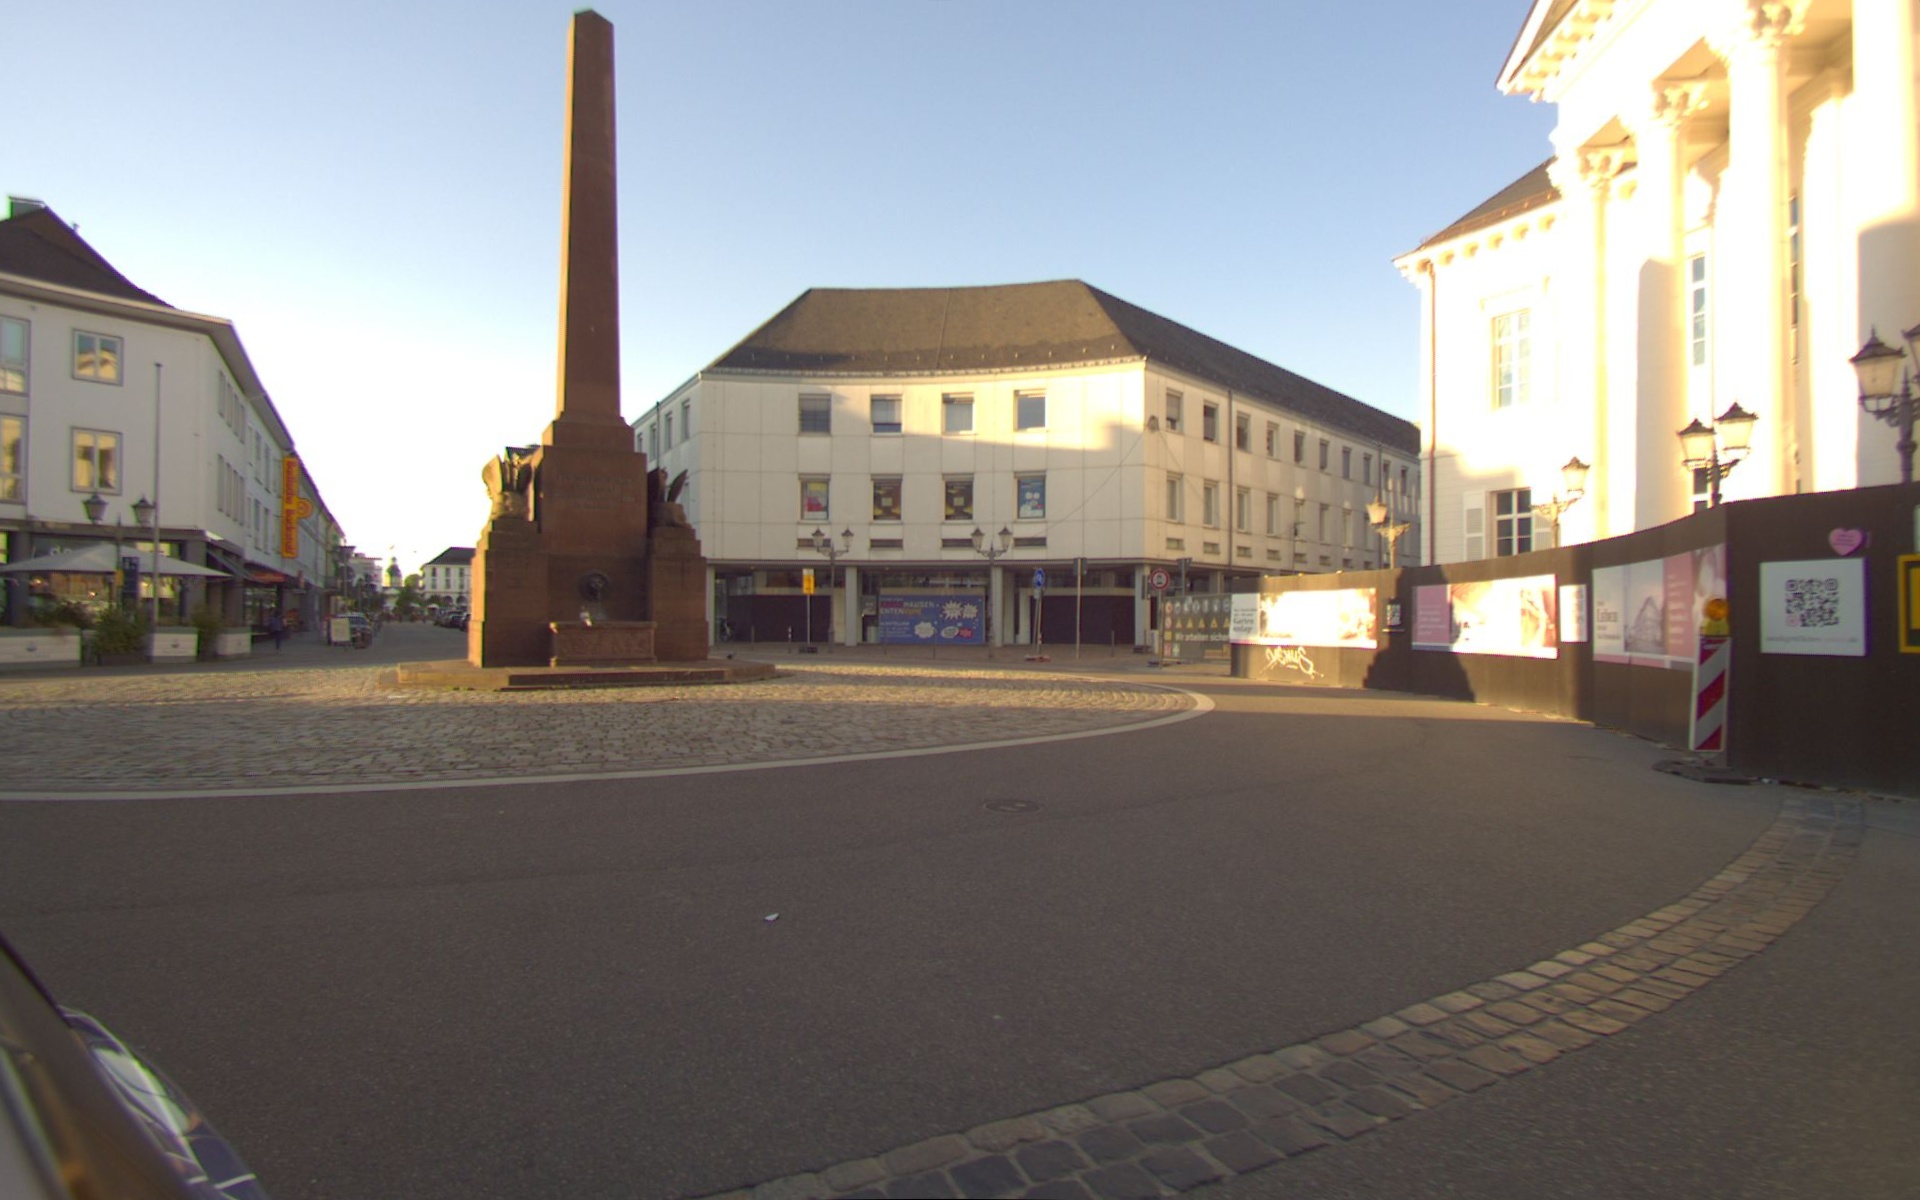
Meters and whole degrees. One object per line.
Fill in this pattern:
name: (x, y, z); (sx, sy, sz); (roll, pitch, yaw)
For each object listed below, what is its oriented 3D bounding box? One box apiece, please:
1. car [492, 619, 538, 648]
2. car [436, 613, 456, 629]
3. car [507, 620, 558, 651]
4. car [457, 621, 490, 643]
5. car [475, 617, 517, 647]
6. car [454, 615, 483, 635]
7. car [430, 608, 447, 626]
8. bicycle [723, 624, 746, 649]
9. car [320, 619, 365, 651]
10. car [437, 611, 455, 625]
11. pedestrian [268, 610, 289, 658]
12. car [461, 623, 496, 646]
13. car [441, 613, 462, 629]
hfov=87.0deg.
car: (-23.985, 1.768, 54.529); (1.752, 1.526, 3.972); (0, -1, -31)
car: (-57.236, 2.318, 112.643); (1.752, 1.679, 4.342); (0, -1, -29)
car: (-21.396, 1.746, 50.566); (1.752, 1.435, 3.972); (0, -1, -31)
car: (-35.660, 2.312, 74.141); (1.752, 1.503, 4.341); (0, -1, -31)
car: (-27.342, 1.854, 59.589); (1.752, 1.741, 4.341); (0, -1, -31)
car: (-41.758, 2.125, 85.962); (1.752, 1.679, 4.341); (0, -1, -31)
car: (-66.415, 2.218, 128.906); (1.752, 2.243, 4.342); (0, -1, -29)
bicycle: (-10.724, 1.714, 48.099); (0.473, 1.164, 1.955); (0, -1, -30)
car: (-29.591, 1.650, 48.596); (1.752, 1.435, 3.973); (0, -1, -30)
car: (-62.910, 2.156, 123.870); (1.752, 1.679, 4.342); (0, -1, -29)
pedestrian: (-24.692, 1.216, 36.648); (0.594, 1.713, 0.715); (1, -1, -35)
car: (-32.911, 2.319, 69.109); (1.752, 1.503, 4.341); (0, -1, -31)
car: (-53.972, 2.242, 107.455); (1.752, 1.679, 4.342); (0, -1, -29)
